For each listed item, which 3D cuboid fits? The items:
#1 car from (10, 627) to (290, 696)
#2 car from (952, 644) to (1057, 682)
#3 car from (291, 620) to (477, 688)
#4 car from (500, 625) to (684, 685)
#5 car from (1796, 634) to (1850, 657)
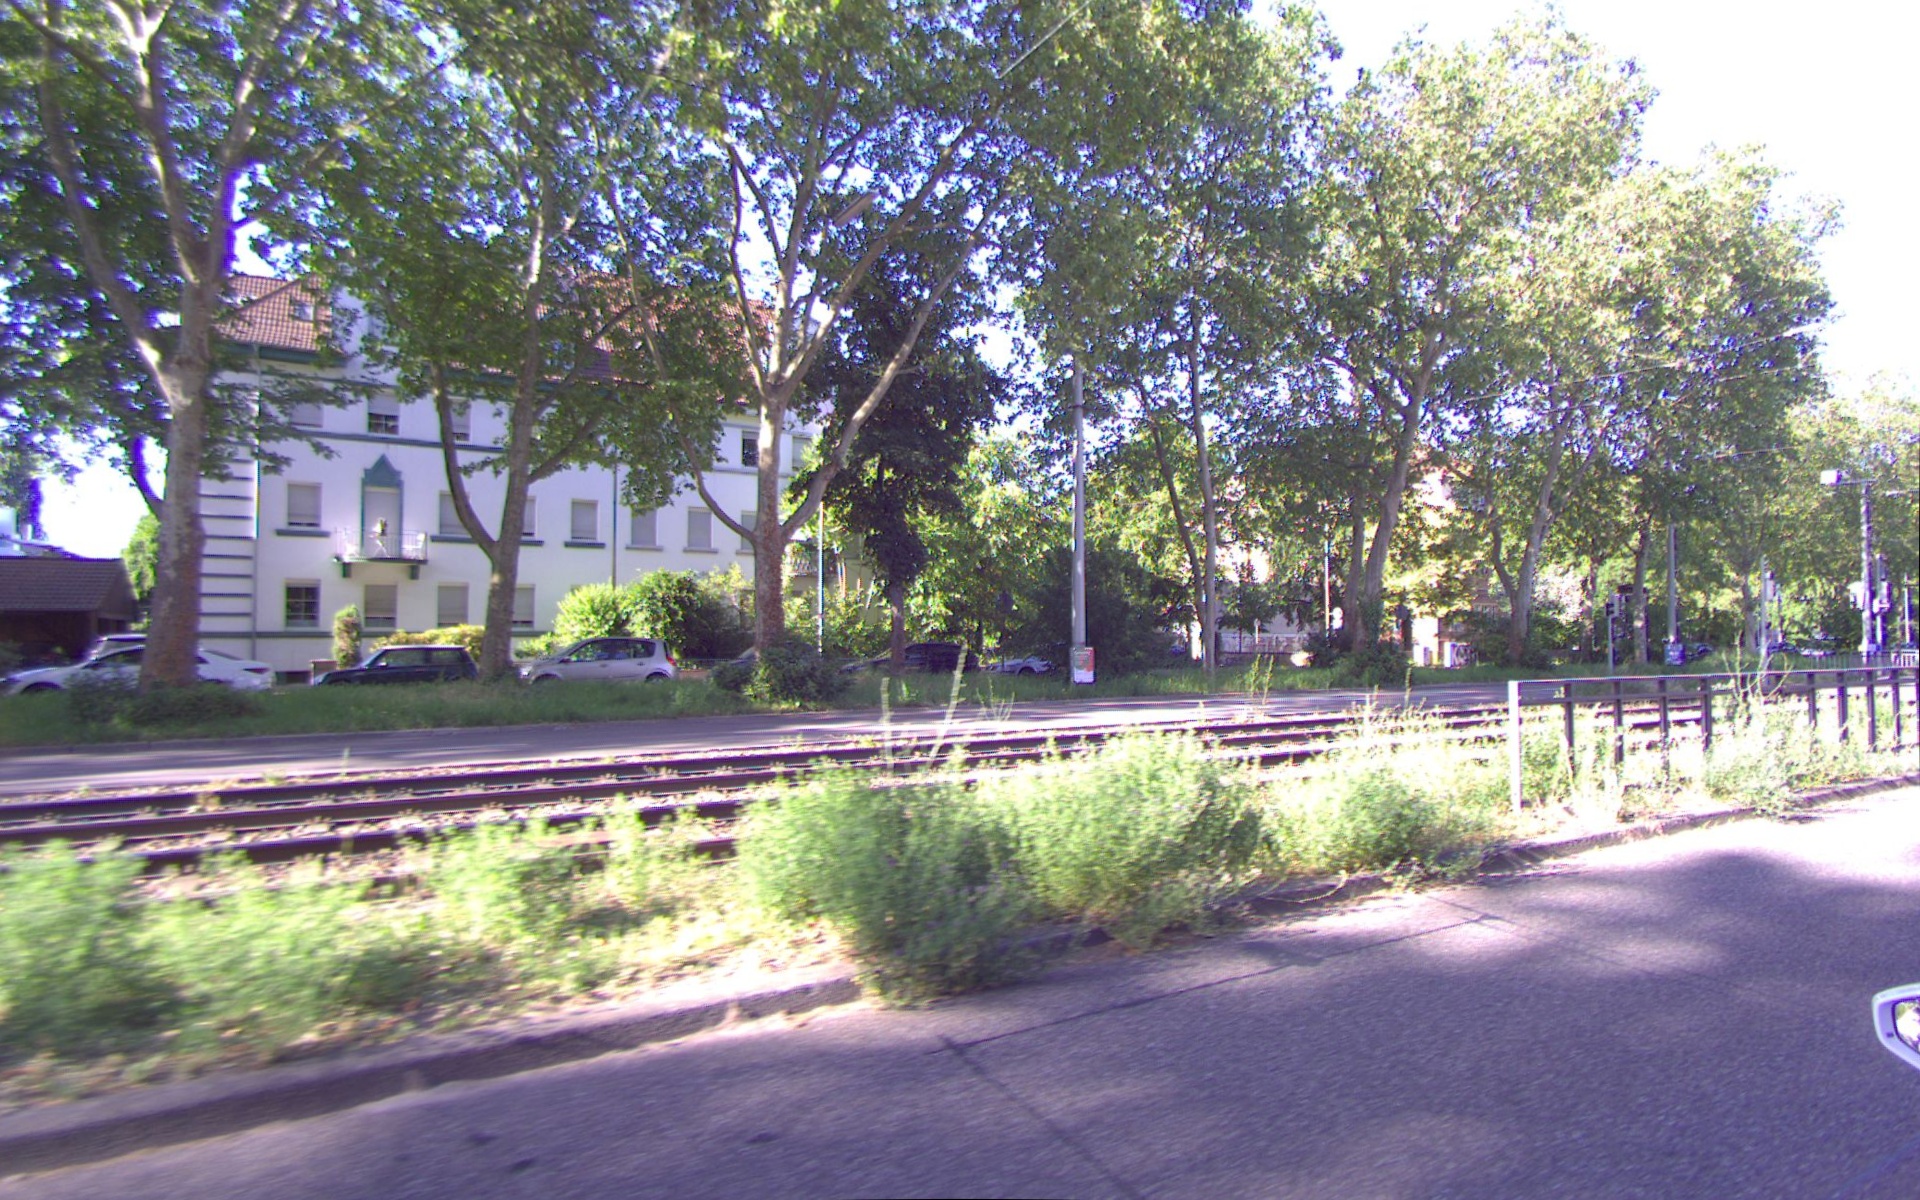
[{"bbox_3d":[-17.035,1.301,21.445,4.408,1.341,1.633,1,-4,-30],"label":"car"},{"bbox_3d":[1.466,2.019,32.557,3.184,1.131,1.463,1,-2,-34],"label":"car"},{"bbox_3d":[-13.463,1.246,23.644,3.654,1.484,1.767,1,-2,-30],"label":"car"},{"bbox_3d":[-9.518,1.401,26.064,4.268,1.459,1.727,1,-2,-30],"label":"car"},{"bbox_3d":[59.282,3.123,68.975,4.099,1.529,1.660,1,-2,-32],"label":"car"}]
